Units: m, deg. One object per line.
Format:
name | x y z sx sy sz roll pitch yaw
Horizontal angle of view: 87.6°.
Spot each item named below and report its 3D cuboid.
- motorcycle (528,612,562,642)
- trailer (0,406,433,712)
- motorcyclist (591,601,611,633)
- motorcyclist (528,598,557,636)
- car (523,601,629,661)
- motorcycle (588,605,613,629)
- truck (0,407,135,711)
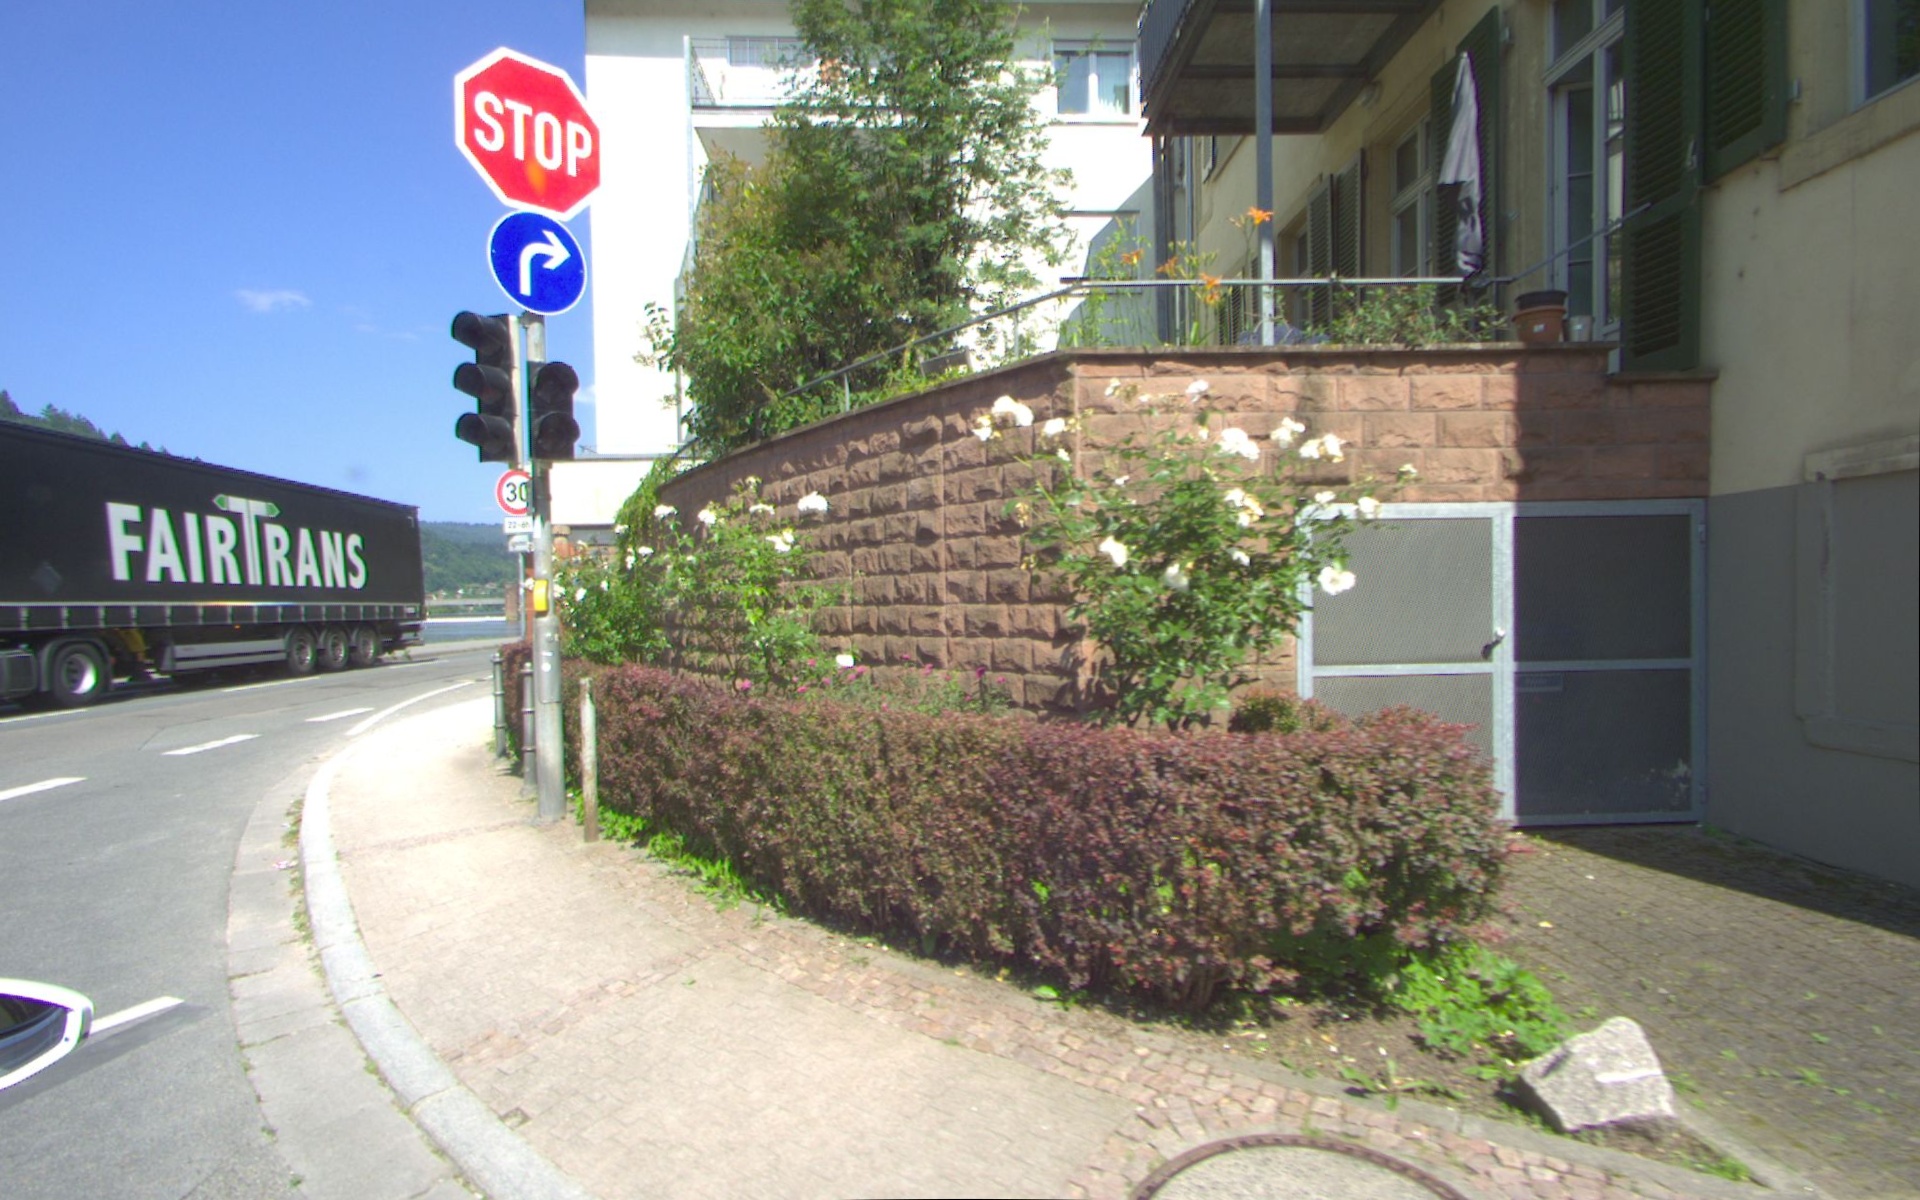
motorcycle | -17.083 1.091 41.260 0.623 1.138 2.092 -3 0 -6
trailer | -14.869 -0.512 19.495 2.787 4.158 13.767 -3 0 -5
motorcyclist | -17.641 0.844 49.228 0.653 1.545 0.991 -3 1 -6
motorcyclist | -17.036 0.680 40.906 0.766 1.480 0.991 -3 1 -5
car | -9.741 0.748 25.681 1.660 1.417 3.738 0 0 -6
motorcycle | -17.652 0.836 49.254 0.623 1.138 2.092 -3 0 -6
truck | -14.305 -0.500 12.761 2.785 4.125 5.930 -3 1 -5
